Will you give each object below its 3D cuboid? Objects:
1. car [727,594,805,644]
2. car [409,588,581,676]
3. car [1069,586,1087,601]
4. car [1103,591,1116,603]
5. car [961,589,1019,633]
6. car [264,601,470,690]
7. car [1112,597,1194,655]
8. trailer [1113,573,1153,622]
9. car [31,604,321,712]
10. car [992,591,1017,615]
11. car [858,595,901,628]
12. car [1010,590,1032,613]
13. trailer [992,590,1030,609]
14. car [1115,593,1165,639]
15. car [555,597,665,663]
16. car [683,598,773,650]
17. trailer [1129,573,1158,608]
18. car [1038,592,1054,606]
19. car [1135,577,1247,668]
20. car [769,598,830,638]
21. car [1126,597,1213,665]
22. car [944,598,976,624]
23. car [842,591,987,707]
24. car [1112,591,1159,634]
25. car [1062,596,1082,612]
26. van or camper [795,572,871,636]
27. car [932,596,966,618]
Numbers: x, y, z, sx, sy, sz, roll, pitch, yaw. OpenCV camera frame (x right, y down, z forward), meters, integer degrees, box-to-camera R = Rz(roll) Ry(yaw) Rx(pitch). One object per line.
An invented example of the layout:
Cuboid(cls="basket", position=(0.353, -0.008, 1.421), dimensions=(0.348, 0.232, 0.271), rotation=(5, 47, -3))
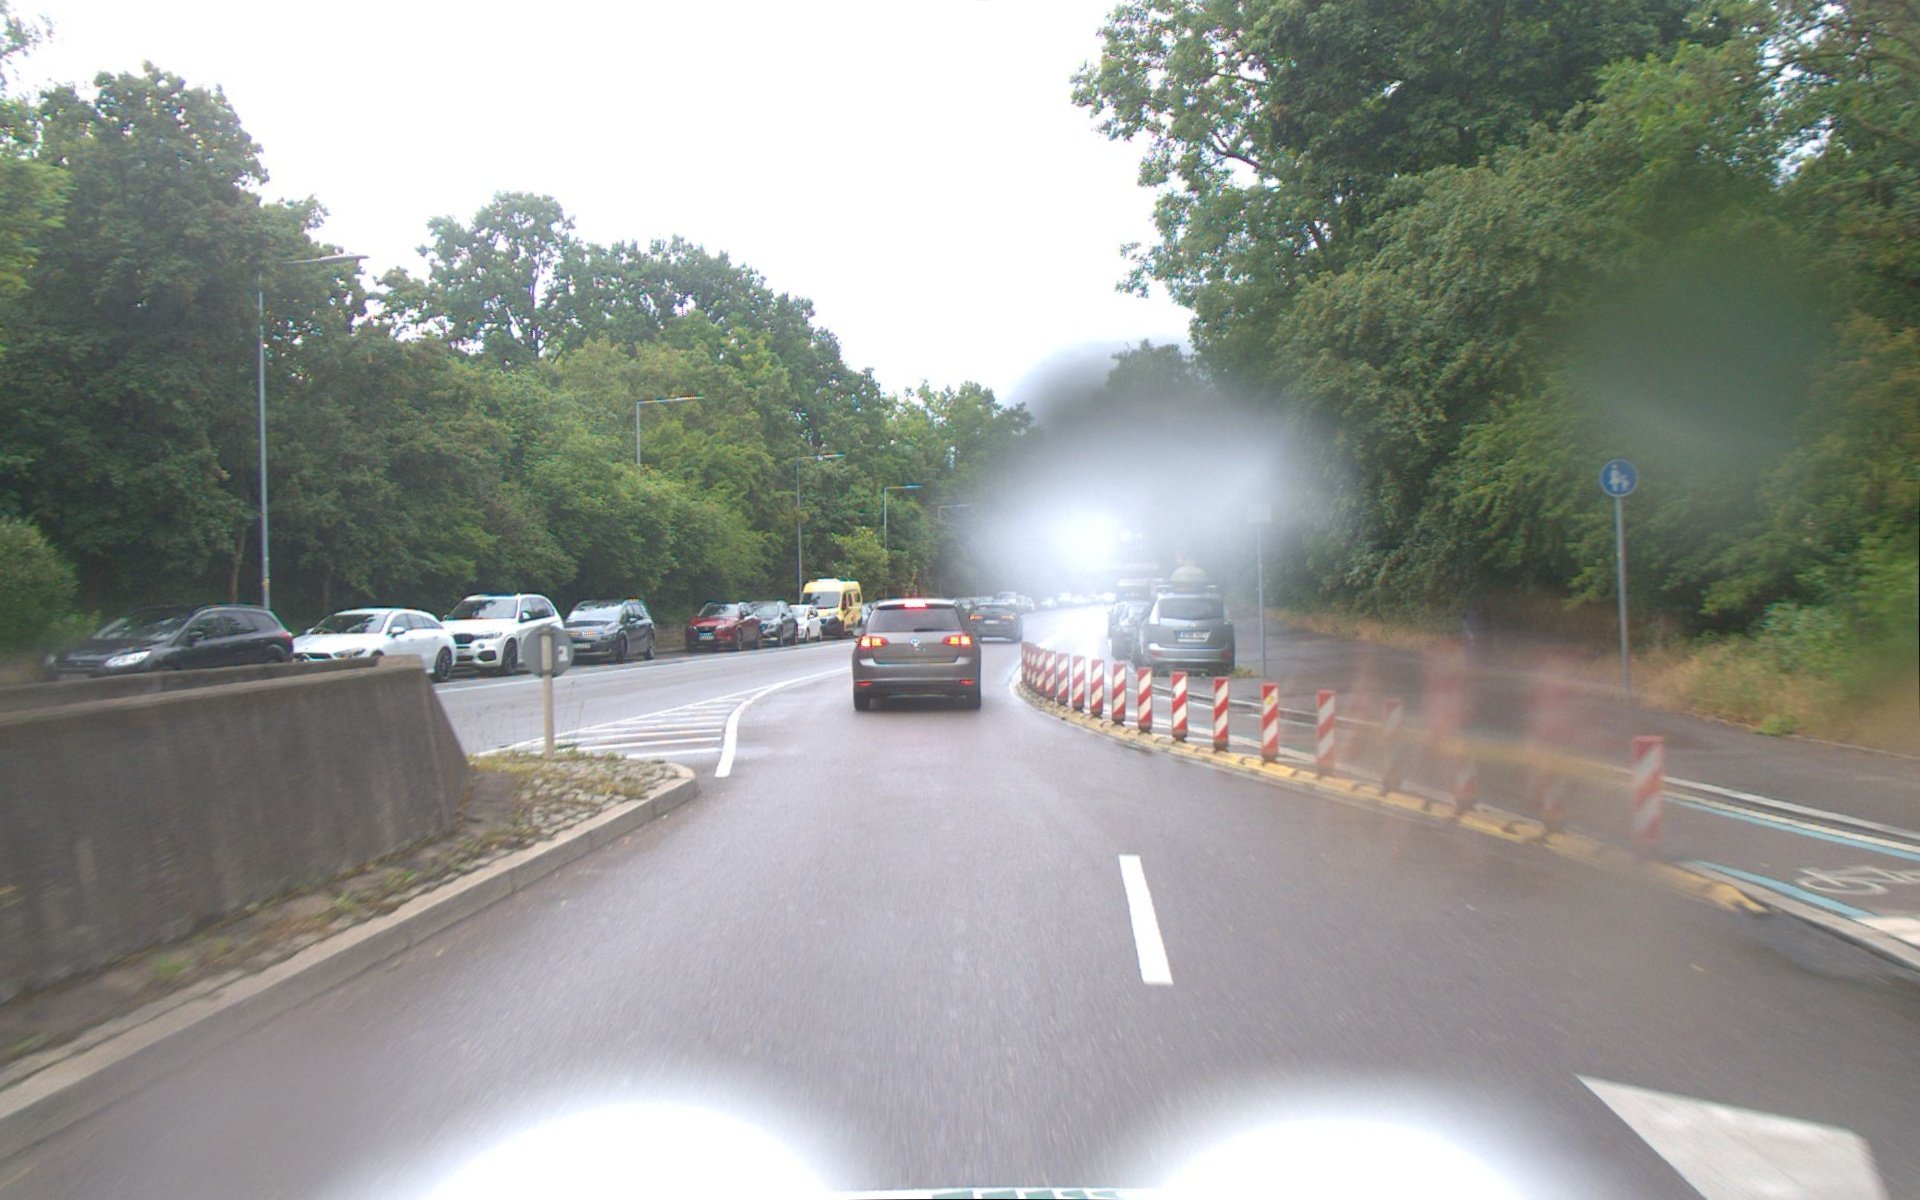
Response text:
Cuboid(cls="car", position=(-7.204, 0.687, 61.879), dimensions=(1.951, 1.730, 4.618), rotation=(-1, 0, 5))
Cuboid(cls="car", position=(-10.249, 0.676, 36.895), dimensions=(1.951, 1.796, 4.964), rotation=(-1, 0, 6))
Cuboid(cls="car", position=(17.173, -0.915, 240.721), dimensions=(2.112, 2.049, 5.035), rotation=(-1, 0, 8))
Cuboid(cls="car", position=(21.577, -0.384, 238.441), dimensions=(1.783, 1.736, 3.860), rotation=(0, 0, 7))
Cuboid(cls="car", position=(1.112, 0.378, 59.728), dimensions=(1.841, 1.491, 4.002), rotation=(1, 1, 4))
Cuboid(cls="car", position=(-11.065, 0.795, 31.250), dimensions=(1.682, 1.486, 4.712), rotation=(-1, 0, 7))
Cuboid(cls="car", position=(4.957, 0.645, 42.931), dimensions=(1.814, 1.423, 4.387), rotation=(0, 0, 3))
Cuboid(cls="trailer", position=(8.514, -0.130, 81.196), dimensions=(1.865, 2.287, 4.771), rotation=(-1, 0, 7))
Cuboid(cls="car", position=(-11.867, 0.821, 25.426), dimensions=(1.711, 1.470, 4.591), rotation=(-1, 0, 9))
Cuboid(cls="car", position=(3.969, 0.259, 147.049), dimensions=(1.899, 2.049, 4.743), rotation=(-1, 0, 5))
Cuboid(cls="car", position=(-4.079, 0.569, 83.898), dimensions=(1.568, 1.536, 3.141), rotation=(-1, 0, 8))
Cuboid(cls="car", position=(5.822, 0.131, 157.523), dimensions=(1.899, 2.049, 4.743), rotation=(-1, 0, 5))
Cuboid(cls="trailer", position=(4.722, -0.086, 151.759), dimensions=(1.599, 1.657, 3.656), rotation=(-1, 0, 38))
Cuboid(cls="car", position=(5.998, 0.526, 55.455), dimensions=(1.527, 1.486, 3.678), rotation=(0, 0, 4))
Cuboid(cls="car", position=(-9.417, 0.777, 44.835), dimensions=(1.695, 1.677, 4.573), rotation=(-1, 0, 4))
Cuboid(cls="car", position=(-7.854, 0.789, 56.426), dimensions=(1.878, 1.645, 4.493), rotation=(-2, 0, 8))
Cuboid(cls="trailer", position=(14.146, -0.761, 127.457), dimensions=(2.087, 2.605, 4.300), rotation=(-1, 0, 5))
Cuboid(cls="car", position=(10.005, -0.126, 191.703), dimensions=(1.637, 1.540, 3.633), rotation=(0, 1, 7))
Cuboid(cls="car", position=(4.483, 0.420, 32.618), dimensions=(1.784, 1.643, 4.253), rotation=(-1, 0, 3))
Cuboid(cls="car", position=(-6.460, 0.703, 66.902), dimensions=(1.583, 1.474, 3.660), rotation=(-2, 0, 8))
Cuboid(cls="car", position=(4.714, 0.677, 37.666), dimensions=(1.661, 1.437, 3.705), rotation=(1, 0, 3))
Cuboid(cls="car", position=(0.015, 0.722, 111.037), dimensions=(1.660, 1.611, 4.142), rotation=(-1, 0, 7))
Cuboid(cls="car", position=(-0.543, 0.656, 23.207), dimensions=(1.833, 1.466, 4.296), rotation=(0, -1, 1))
Cuboid(cls="car", position=(6.387, 0.432, 60.153), dimensions=(1.623, 1.490, 3.903), rotation=(1, 0, 7))
Cuboid(cls="car", position=(14.656, 0.524, 216.305), dimensions=(2.112, 2.049, 5.035), rotation=(-1, 0, 8))
Cuboid(cls="van or camper", position=(-5.566, 0.157, 73.153), dimensions=(2.098, 2.673, 5.687), rotation=(-1, 0, 8))
Cuboid(cls="car", position=(-0.669, 0.464, 106.152), dimensions=(1.660, 1.323, 4.195), rotation=(-1, 0, 7))
